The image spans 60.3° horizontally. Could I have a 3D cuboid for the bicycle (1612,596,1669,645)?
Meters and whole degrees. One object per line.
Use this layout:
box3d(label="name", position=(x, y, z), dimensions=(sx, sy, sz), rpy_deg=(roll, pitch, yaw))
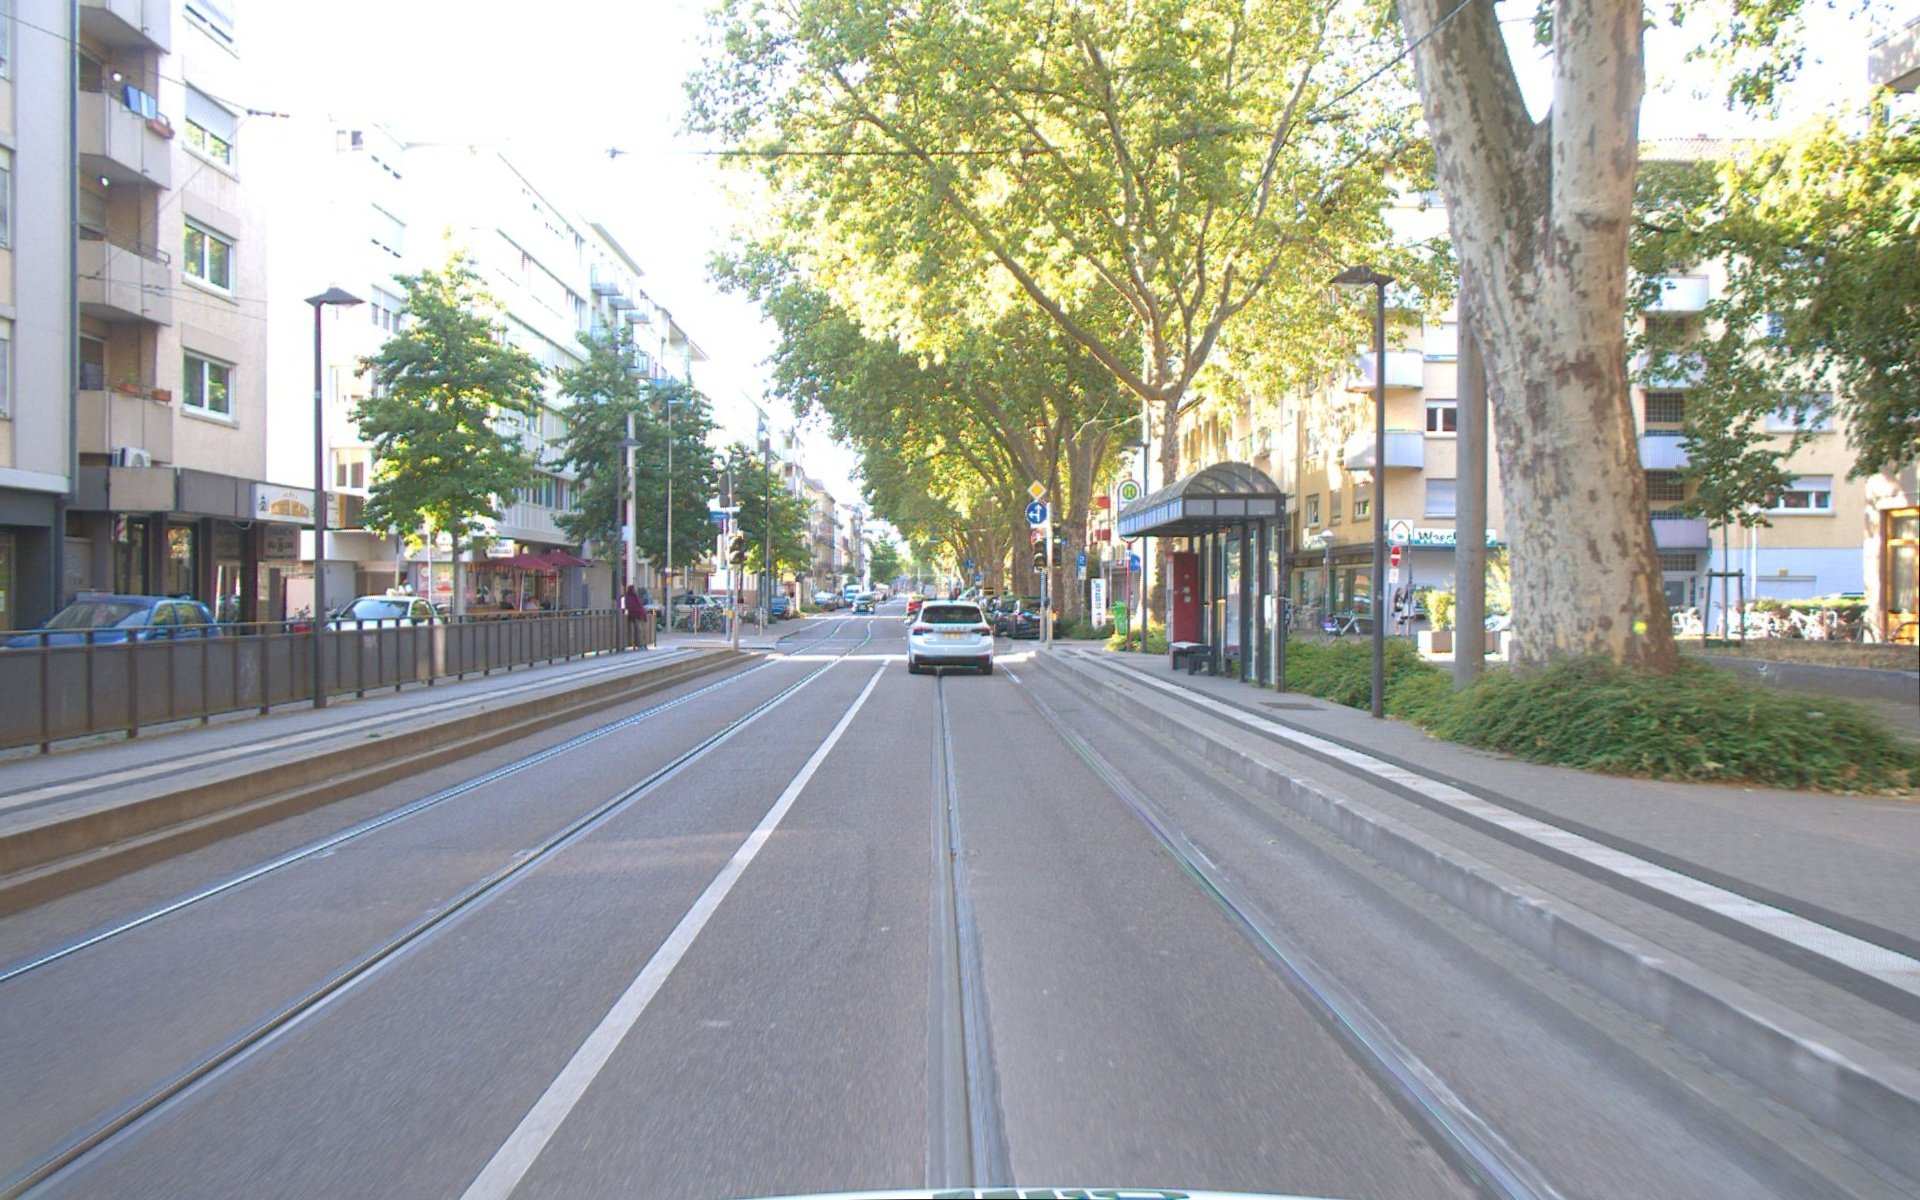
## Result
box3d(label="bicycle", position=(17.128, 0.505, 41.666), dimensions=(0.588, 1.177, 1.696), rpy_deg=(-2, 0, -5))

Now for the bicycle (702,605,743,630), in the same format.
box3d(label="bicycle", position=(-9.994, 0.736, 69.598), dimensions=(1.658, 1.025, 0.657), rpy_deg=(1, 0, -6))

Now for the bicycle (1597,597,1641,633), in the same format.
box3d(label="bicycle", position=(23.124, 0.528, 58.058), dimensions=(1.679, 1.177, 0.594), rpy_deg=(-2, 0, -36))

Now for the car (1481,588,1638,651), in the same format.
box3d(label="car", position=(17.042, 0.544, 47.147), dimensions=(3.783, 1.722, 1.865), rpy_deg=(-1, 0, -2))

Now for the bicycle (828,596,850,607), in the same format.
box3d(label="bicycle", position=(-13.745, 0.142, 187.959), dimensions=(2.477, 1.193, 0.718), rpy_deg=(2, -2, -8))

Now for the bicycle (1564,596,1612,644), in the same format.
box3d(label="bicycle", position=(16.039, 0.493, 42.268), dimensions=(0.587, 1.177, 1.698), rpy_deg=(-2, 0, 2))

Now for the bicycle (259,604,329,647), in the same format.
box3d(label="bicycle", position=(-18.480, 0.704, 45.884), dimensions=(1.745, 1.177, 0.572), rpy_deg=(0, 0, 10))

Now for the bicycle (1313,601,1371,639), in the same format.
box3d(label="bicycle", position=(12.648, 0.664, 54.804), dimensions=(1.767, 1.177, 0.740), rpy_deg=(-2, 0, -23))

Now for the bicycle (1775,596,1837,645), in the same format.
box3d(label="bicycle", position=(21.375, 0.507, 41.818), dimensions=(0.647, 1.177, 1.697), rpy_deg=(-2, 0, -2))

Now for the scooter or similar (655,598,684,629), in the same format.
box3d(label="scooter or similar", position=(-11.655, 0.546, 66.414), dimensions=(1.058, 1.197, 0.498), rpy_deg=(1, -1, -3))

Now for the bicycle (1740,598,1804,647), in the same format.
box3d(label="bicycle", position=(20.539, 0.562, 41.879), dimensions=(0.647, 1.177, 1.850), rpy_deg=(-2, 0, -2))

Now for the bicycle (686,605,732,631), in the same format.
box3d(label="bicycle", position=(-10.159, 0.723, 67.109), dimensions=(1.794, 1.025, 0.657), rpy_deg=(1, 0, -6))

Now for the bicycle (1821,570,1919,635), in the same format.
box3d(label="bicycle", position=(17.480, 0.048, 31.418), dimensions=(1.887, 1.177, 0.572), rpy_deg=(-2, 0, 15))

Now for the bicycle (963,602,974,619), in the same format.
box3d(label="bicycle", position=(0.524, 0.664, 105.325), dimensions=(0.667, 1.089, 1.780), rpy_deg=(0, 0, -1))

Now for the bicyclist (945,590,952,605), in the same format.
box3d(label="bicyclist", position=(-1.045, -0.202, 149.574), dimensions=(0.636, 1.367, 0.934), rpy_deg=(0, 0, -3))

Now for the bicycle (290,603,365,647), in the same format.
box3d(label="bicycle", position=(-17.230, 0.684, 45.090), dimensions=(1.819, 1.177, 0.572), rpy_deg=(0, 0, 3))

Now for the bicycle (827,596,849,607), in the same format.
box3d(label="bicycle", position=(-13.791, 0.140, 187.076), dimensions=(2.510, 1.193, 0.870), rpy_deg=(3, -2, -41))

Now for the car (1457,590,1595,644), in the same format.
box3d(label="car", position=(18.126, 0.530, 53.060), dimensions=(3.783, 1.579, 1.866), rpy_deg=(-1, 3, -2))

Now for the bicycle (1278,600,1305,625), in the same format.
box3d(label="bicycle", position=(13.506, 0.502, 67.409), dimensions=(0.559, 1.014, 1.778), rpy_deg=(-2, 0, -6))

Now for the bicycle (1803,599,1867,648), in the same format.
box3d(label="bicycle", position=(22.088, 0.586, 41.794), dimensions=(0.647, 1.177, 1.697), rpy_deg=(-2, 0, -2))

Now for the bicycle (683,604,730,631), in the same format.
box3d(label="bicycle", position=(-10.178, 0.698, 66.462), dimensions=(1.794, 1.025, 0.657), rpy_deg=(1, 0, -6))

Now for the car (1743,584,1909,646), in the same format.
box3d(label="car", position=(24.832, 0.424, 47.512), dimensions=(3.783, 1.722, 1.865), rpy_deg=(-1, 0, -2))

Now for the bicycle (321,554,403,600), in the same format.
box3d(label="bicycle", position=(-15.676, -0.604, 43.353), dimensions=(2.004, 1.177, 0.568), rpy_deg=(0, 0, -24))

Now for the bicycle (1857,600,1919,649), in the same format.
box3d(label="bicycle", position=(23.394, 0.602, 41.538), dimensions=(0.510, 1.177, 1.693), rpy_deg=(-2, 0, -11))

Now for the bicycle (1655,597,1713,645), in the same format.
box3d(label="bicycle", position=(18.344, 0.524, 41.930), dimensions=(0.623, 1.177, 1.982), rpy_deg=(-2, 0, 2))

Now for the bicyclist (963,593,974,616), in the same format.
box3d(label="bicyclist", position=(0.523, 0.272, 105.246), dimensions=(0.664, 1.468, 1.047), rpy_deg=(0, 0, 0))

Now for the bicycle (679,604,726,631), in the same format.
box3d(label="bicycle", position=(-10.260, 0.694, 66.019), dimensions=(1.794, 1.025, 0.657), rpy_deg=(1, 0, -6))

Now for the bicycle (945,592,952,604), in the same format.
box3d(label="bicycle", position=(-1.039, -0.201, 149.562), dimensions=(0.636, 1.089, 1.582), rpy_deg=(0, 0, -3))

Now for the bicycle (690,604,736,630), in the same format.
box3d(label="bicycle", position=(-10.185, 0.697, 68.241), dimensions=(1.794, 1.025, 0.657), rpy_deg=(1, 0, -6))

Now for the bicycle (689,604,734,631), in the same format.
box3d(label="bicycle", position=(-9.693, 0.666, 64.549), dimensions=(1.658, 1.025, 0.657), rpy_deg=(1, 0, -6))

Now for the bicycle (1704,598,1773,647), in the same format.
box3d(label="bicycle", position=(19.613, 0.548, 41.727), dimensions=(0.715, 1.177, 2.050), rpy_deg=(-2, 0, -1))
